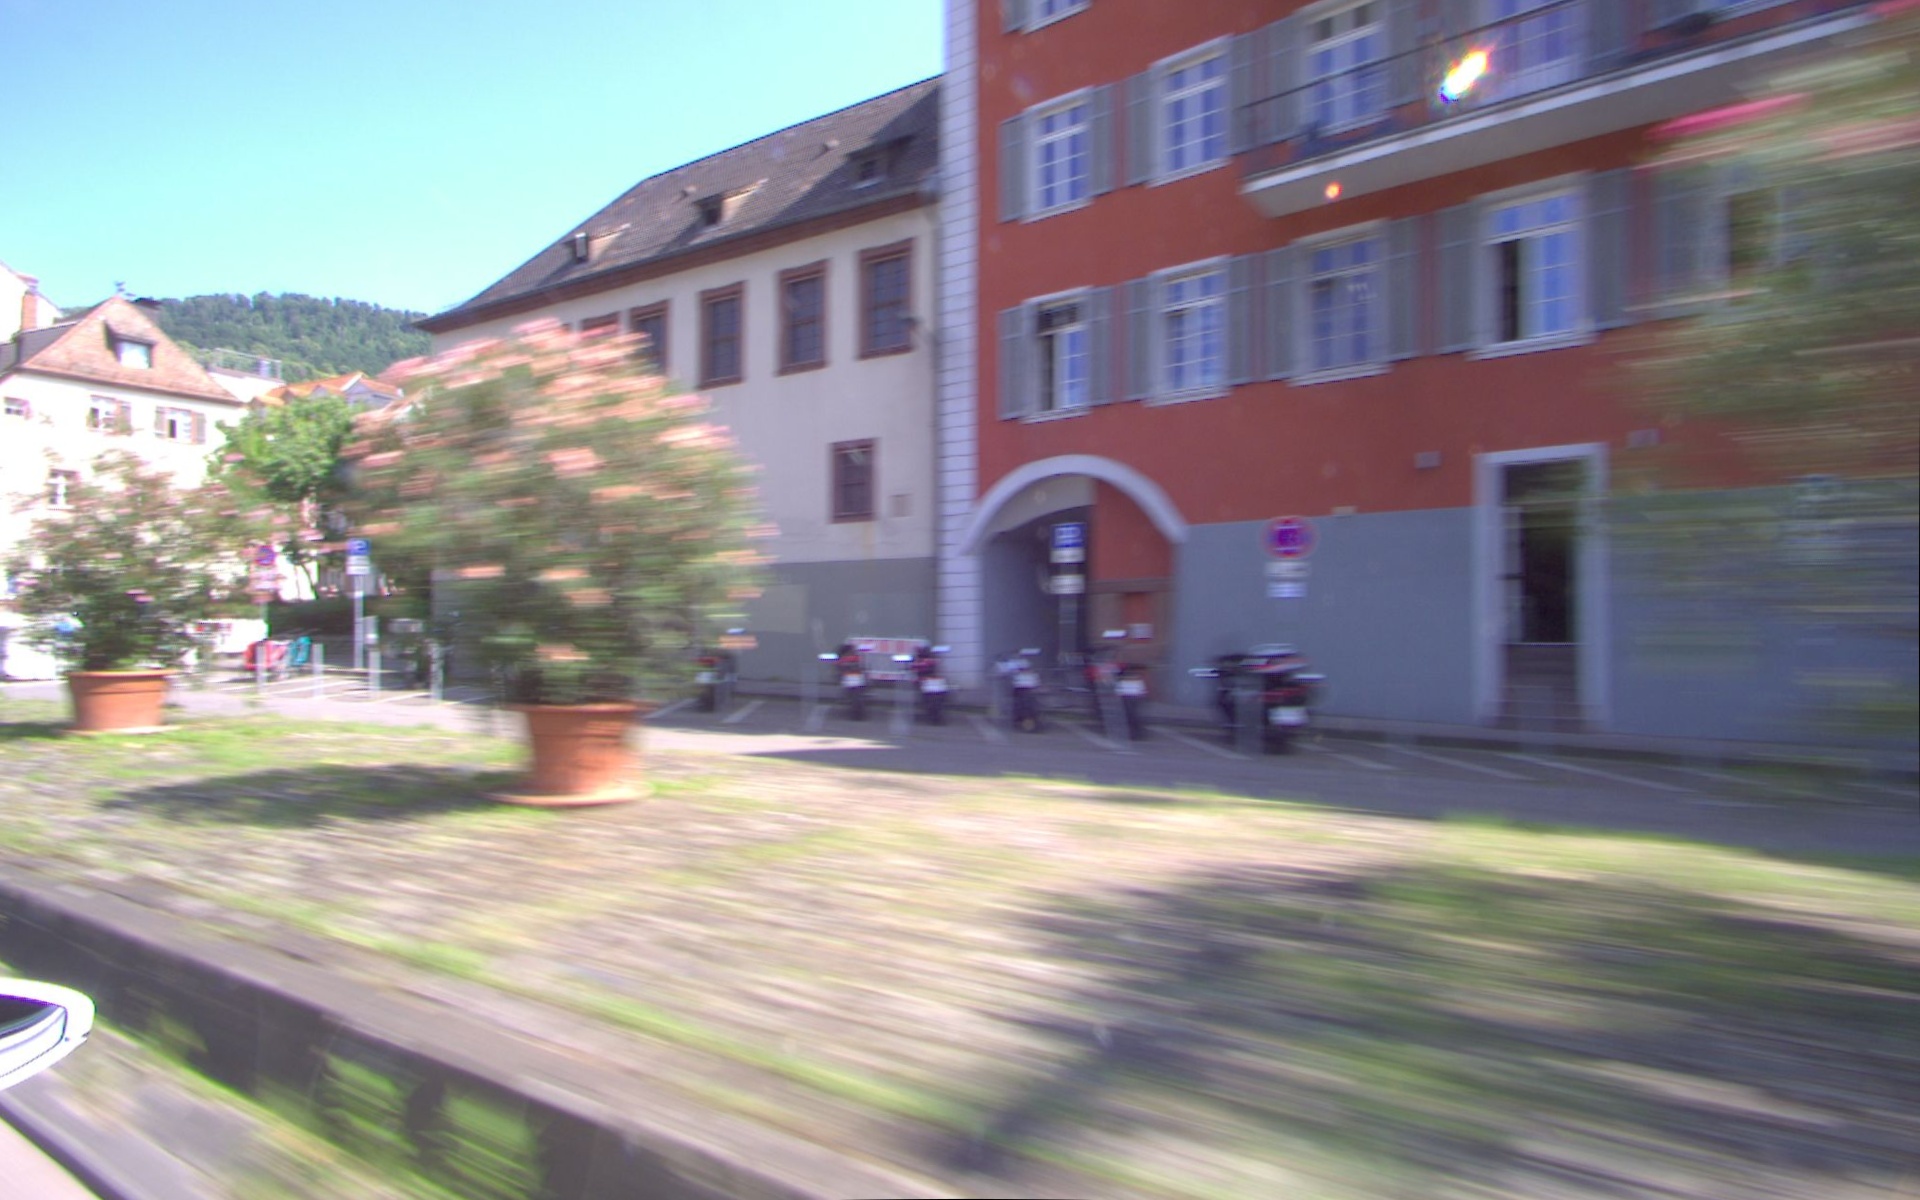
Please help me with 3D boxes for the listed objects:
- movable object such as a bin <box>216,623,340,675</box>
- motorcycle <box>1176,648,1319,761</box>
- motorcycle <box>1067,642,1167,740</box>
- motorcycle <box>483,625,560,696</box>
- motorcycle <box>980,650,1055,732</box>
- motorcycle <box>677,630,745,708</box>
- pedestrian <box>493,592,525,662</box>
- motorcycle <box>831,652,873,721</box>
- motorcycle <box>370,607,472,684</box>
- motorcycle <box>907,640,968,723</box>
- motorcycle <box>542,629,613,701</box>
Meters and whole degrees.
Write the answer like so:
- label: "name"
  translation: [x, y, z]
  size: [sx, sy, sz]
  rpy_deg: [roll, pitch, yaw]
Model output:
- label: "movable object such as a bin"
  translation: [-15.983, 1.114, 23.615]
  size: [1.234, 1.125, 2.955]
  rpy_deg: [1, -1, -8]
- label: "motorcycle"
  translation: [3.661, 1.289, 13.036]
  size: [0.826, 1.249, 2.542]
  rpy_deg: [1, -1, -8]
- label: "motorcycle"
  translation: [2.212, 1.261, 14.412]
  size: [0.826, 1.249, 2.152]
  rpy_deg: [1, -1, -8]
- label: "motorcycle"
  translation: [-8.747, 1.166, 20.059]
  size: [0.616, 1.269, 2.236]
  rpy_deg: [3, 0, -3]
- label: "motorcycle"
  translation: [0.826, 1.328, 15.153]
  size: [0.616, 1.090, 2.196]
  rpy_deg: [0, -1, -11]
- label: "motorcycle"
  translation: [-4.404, 1.180, 17.857]
  size: [0.768, 1.283, 2.183]
  rpy_deg: [0, -1, -3]
- label: "pedestrian"
  translation: [-12.033, 0.718, 26.694]
  size: [0.609, 1.846, 0.494]
  rpy_deg: [-1, -1, 29]
- label: "motorcycle"
  translation: [-1.791, 1.385, 16.433]
  size: [0.537, 0.999, 1.931]
  rpy_deg: [0, -1, -11]
- label: "motorcycle"
  translation: [-11.589, 0.981, 21.653]
  size: [1.033, 1.552, 2.498]
  rpy_deg: [0, -2, -5]
- label: "motorcycle"
  translation: [-0.389, 1.239, 15.808]
  size: [0.616, 1.163, 2.196]
  rpy_deg: [0, -1, -11]
- label: "motorcycle"
  translation: [-7.306, 1.200, 19.217]
  size: [0.616, 1.283, 2.198]
  rpy_deg: [0, -1, -3]
